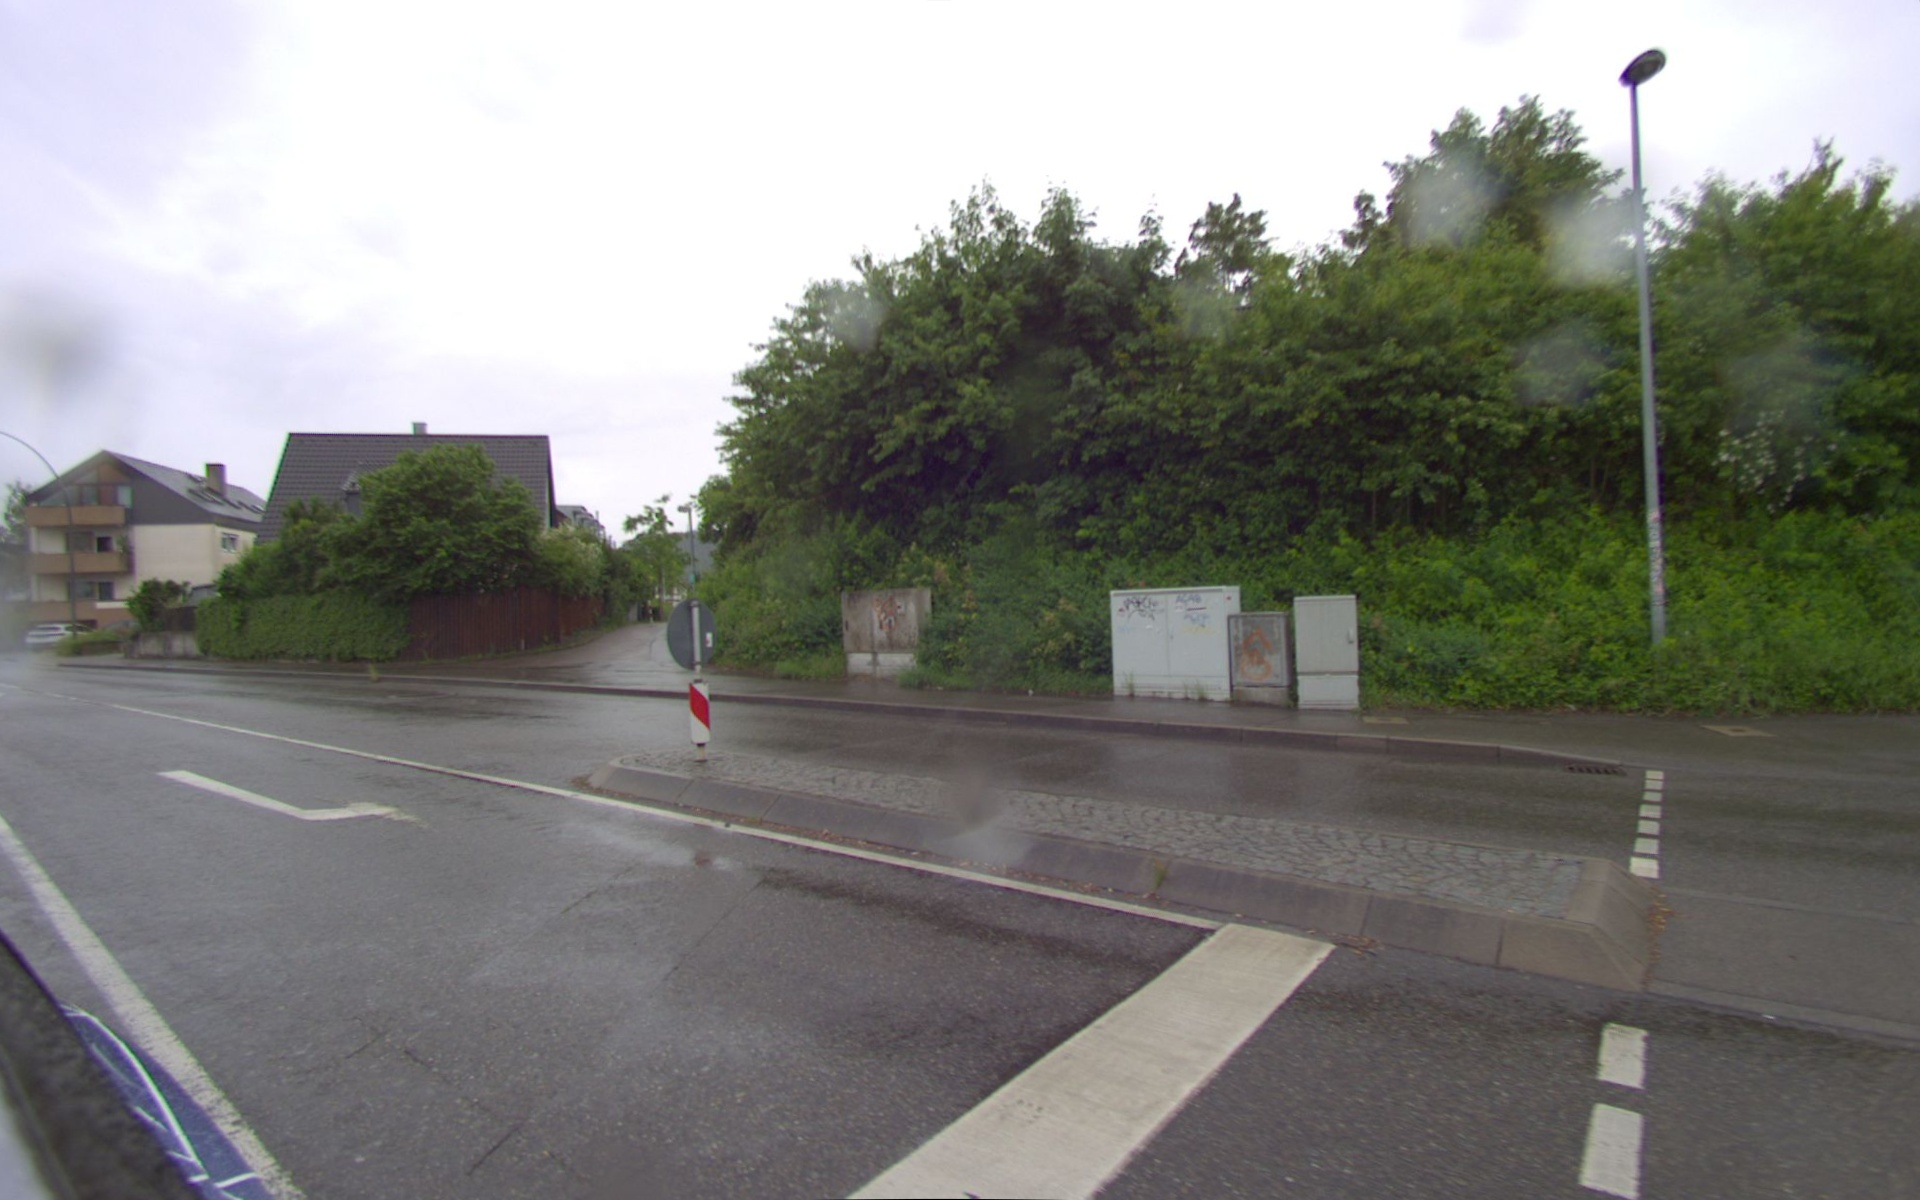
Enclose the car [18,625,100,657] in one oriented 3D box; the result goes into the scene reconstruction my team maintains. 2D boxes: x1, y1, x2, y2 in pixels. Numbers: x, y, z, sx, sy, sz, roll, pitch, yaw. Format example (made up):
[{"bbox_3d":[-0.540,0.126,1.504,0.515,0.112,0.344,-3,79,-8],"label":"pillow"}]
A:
[{"bbox_3d":[-48.649,2.188,54.722,1.638,1.558,4.011,0,0,-14],"label":"car"}]
